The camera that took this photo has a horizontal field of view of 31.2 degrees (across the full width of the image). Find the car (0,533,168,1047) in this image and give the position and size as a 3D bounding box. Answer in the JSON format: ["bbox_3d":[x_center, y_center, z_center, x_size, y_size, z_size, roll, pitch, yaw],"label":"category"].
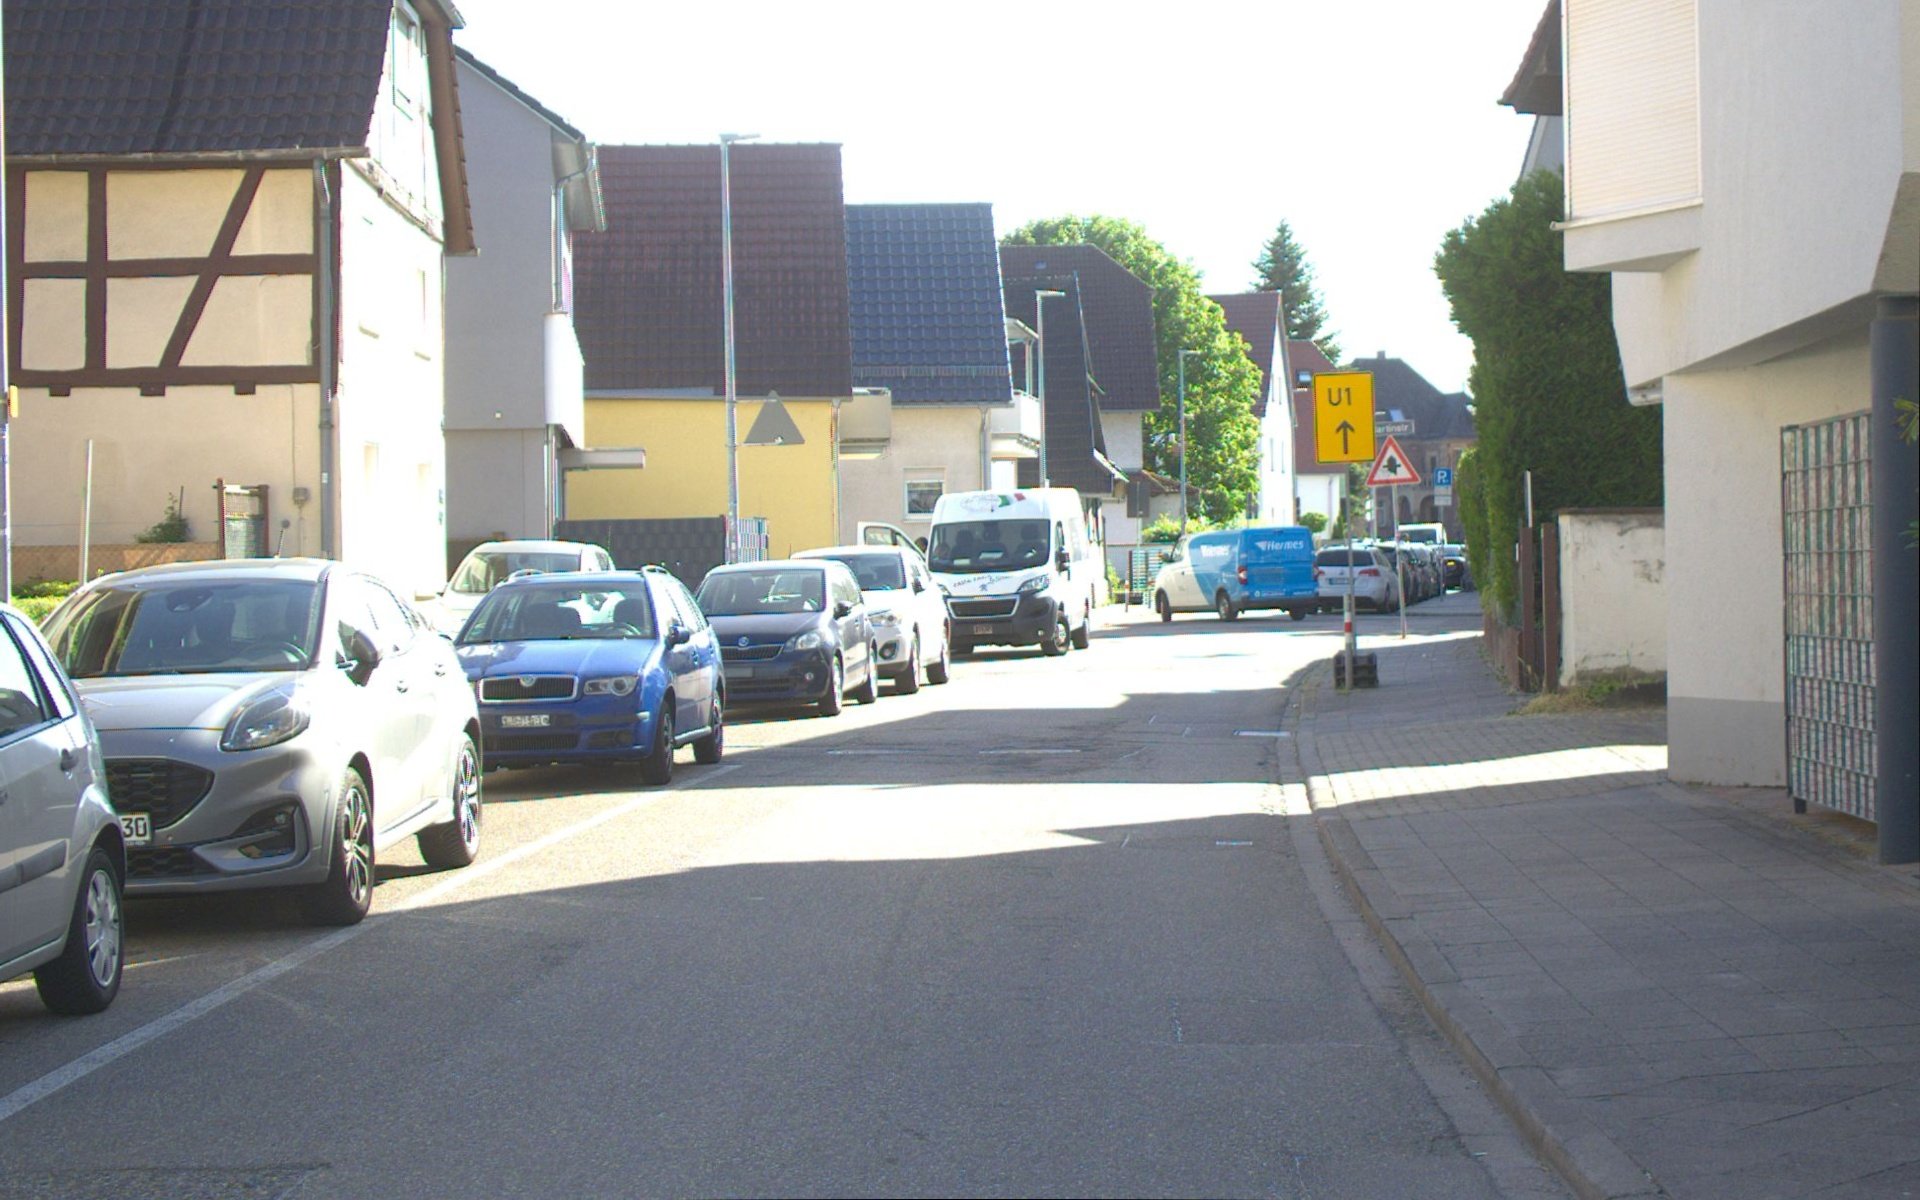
[{"bbox_3d":[-3.664,0.607,10.131,1.631,1.500,3.853,-4,1,1],"label":"car"}]

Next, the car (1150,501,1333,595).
[{"bbox_3d":[5.764,-1.077,70.903,1.920,1.795,4.781,-3,2,-19],"label":"car"}]

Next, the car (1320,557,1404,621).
[{"bbox_3d":[9.571,-0.251,82.101,1.844,1.408,3.999,1,-1,5],"label":"car"}]

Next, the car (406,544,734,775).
[{"bbox_3d":[-2.639,0.364,24.123,1.639,1.436,4.075,-2,0,2],"label":"car"}]

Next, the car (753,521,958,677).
[{"bbox_3d":[-1.099,-0.048,38.018,1.674,1.566,3.965,-2,1,6],"label":"car"}]

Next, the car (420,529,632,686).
[{"bbox_3d":[-4.733,0.033,38.010,1.721,1.590,4.017,1,1,1],"label":"car"}]

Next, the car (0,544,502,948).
[{"bbox_3d":[-3.221,0.533,15.215,1.673,1.500,4.094,-2,1,2],"label":"car"}]

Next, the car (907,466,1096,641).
[{"bbox_3d":[0.685,-0.692,50.996,2.077,2.386,5.207,-2,1,8],"label":"car"}]

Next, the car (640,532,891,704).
[{"bbox_3d":[-1.832,0.143,33.651,1.704,1.513,4.121,-2,0,7],"label":"car"}]

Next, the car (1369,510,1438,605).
[{"bbox_3d":[12.996,-1.208,100.573,1.845,2.630,3.998,1,-1,9],"label":"car"}]

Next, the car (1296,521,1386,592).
[{"bbox_3d":[8.340,-0.928,75.436,1.844,1.408,3.999,1,-1,5],"label":"car"}]
